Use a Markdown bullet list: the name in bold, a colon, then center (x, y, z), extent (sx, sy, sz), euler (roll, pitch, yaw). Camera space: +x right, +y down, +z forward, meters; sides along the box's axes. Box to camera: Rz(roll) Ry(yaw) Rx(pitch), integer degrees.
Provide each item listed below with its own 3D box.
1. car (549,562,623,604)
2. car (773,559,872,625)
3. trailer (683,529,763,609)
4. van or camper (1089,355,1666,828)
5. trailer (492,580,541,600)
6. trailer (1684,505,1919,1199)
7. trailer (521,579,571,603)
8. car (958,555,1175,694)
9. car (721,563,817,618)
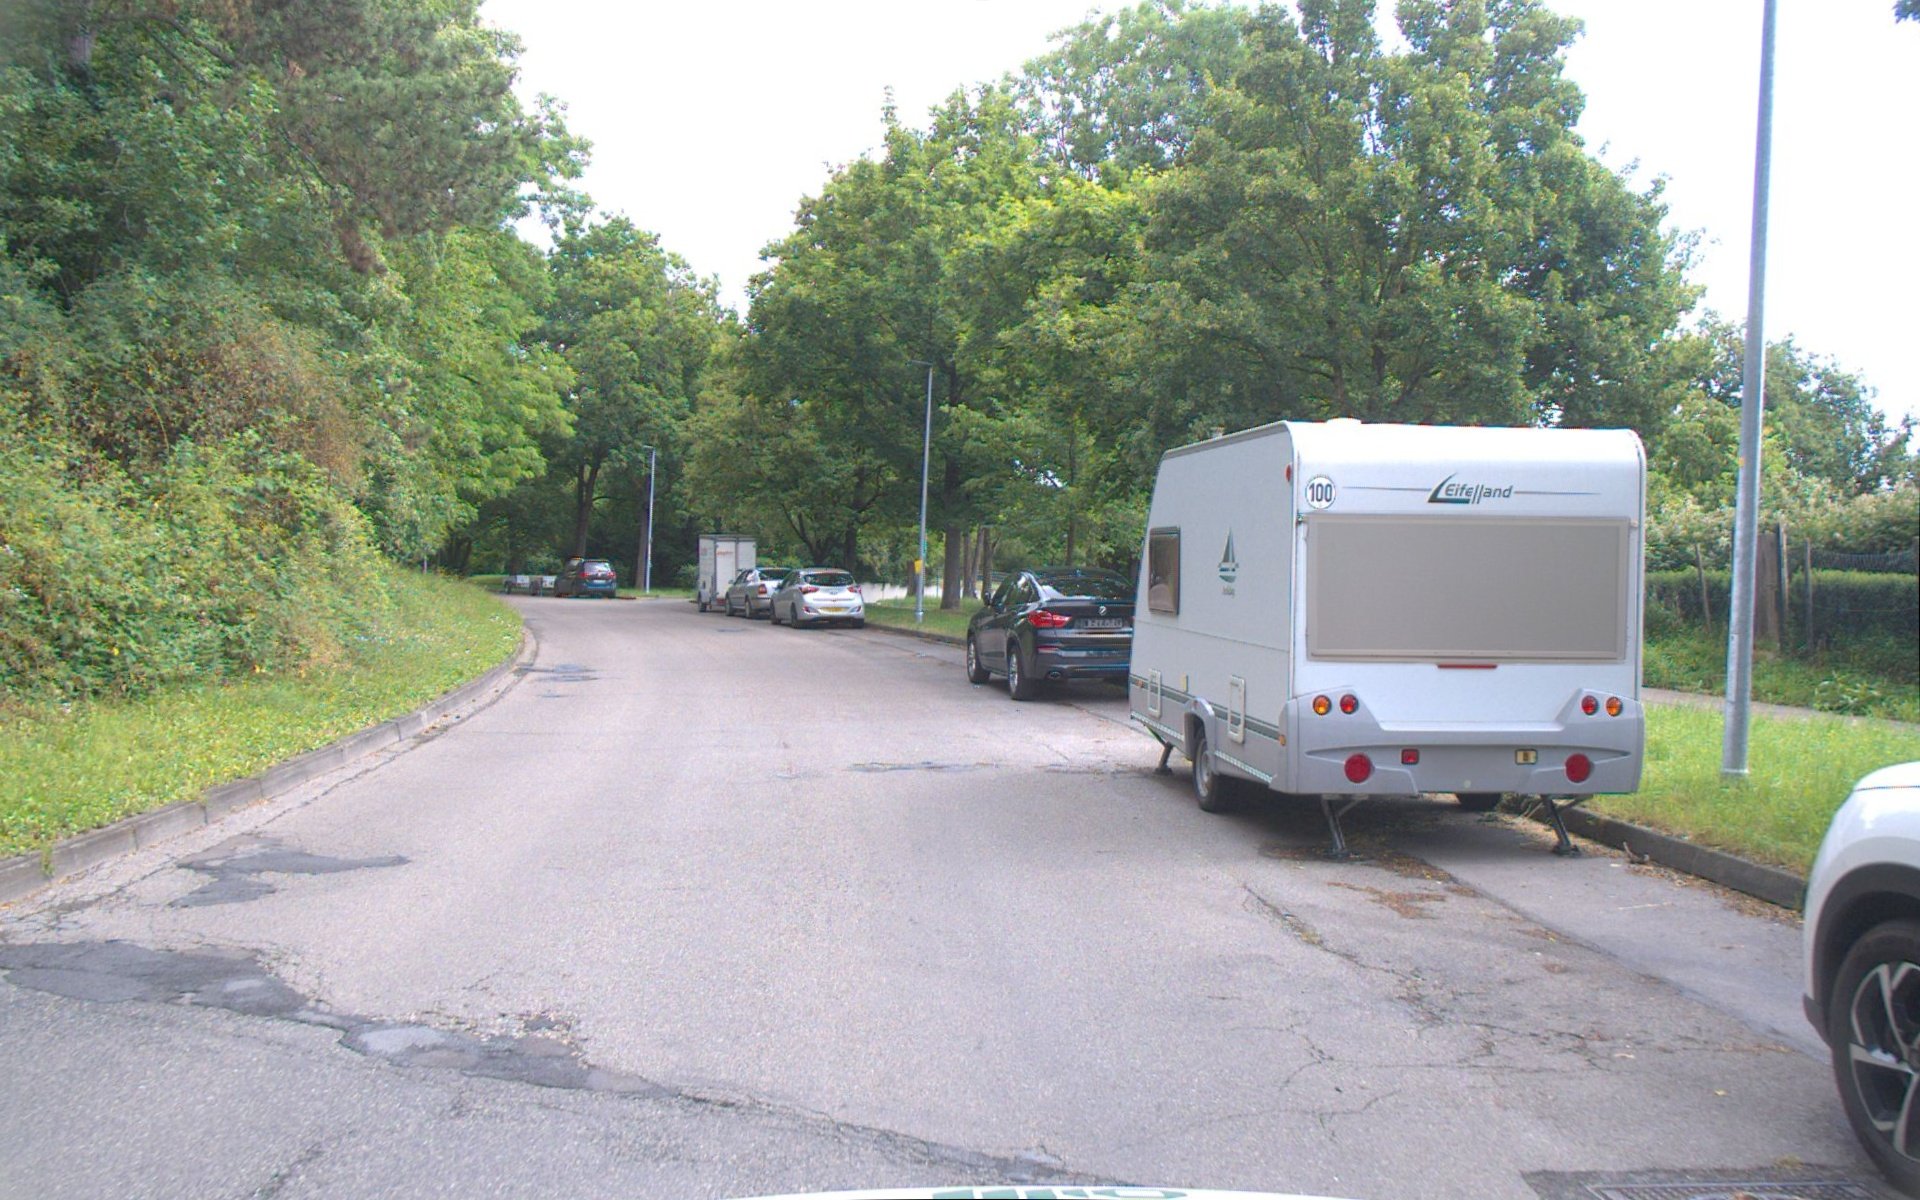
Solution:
- **car**: center (-16.017, -0.716, 70.638), extent (1.756, 1.691, 4.793), euler (2, -1, -29)
- **car**: center (-3.558, -0.160, 42.149), extent (1.870, 1.502, 4.043), euler (2, -2, -14)
- **trailer**: center (-7.697, -1.005, 53.451), extent (1.736, 2.469, 3.861), euler (0, 1, -22)
- **van or camper**: center (2.586, -0.049, 12.217), extent (2.120, 2.580, 6.023), euler (2, 0, -6)
- **trailer**: center (-21.468, -0.490, 79.954), extent (1.351, 0.862, 3.241), euler (3, -2, -33)
- **trailer**: center (3.370, 0.626, 3.071), extent (1.737, 1.761, 4.646), euler (-1, 0, -4)
- **trailer**: center (-19.012, -0.418, 75.890), extent (1.341, 0.986, 3.858), euler (2, 0, -27)
- **car**: center (1.295, 0.267, 22.234), extent (1.815, 1.671, 4.518), euler (0, 1, -11)
- **car**: center (-5.655, -0.290, 48.477), extent (1.716, 1.552, 4.606), euler (0, 1, -21)
